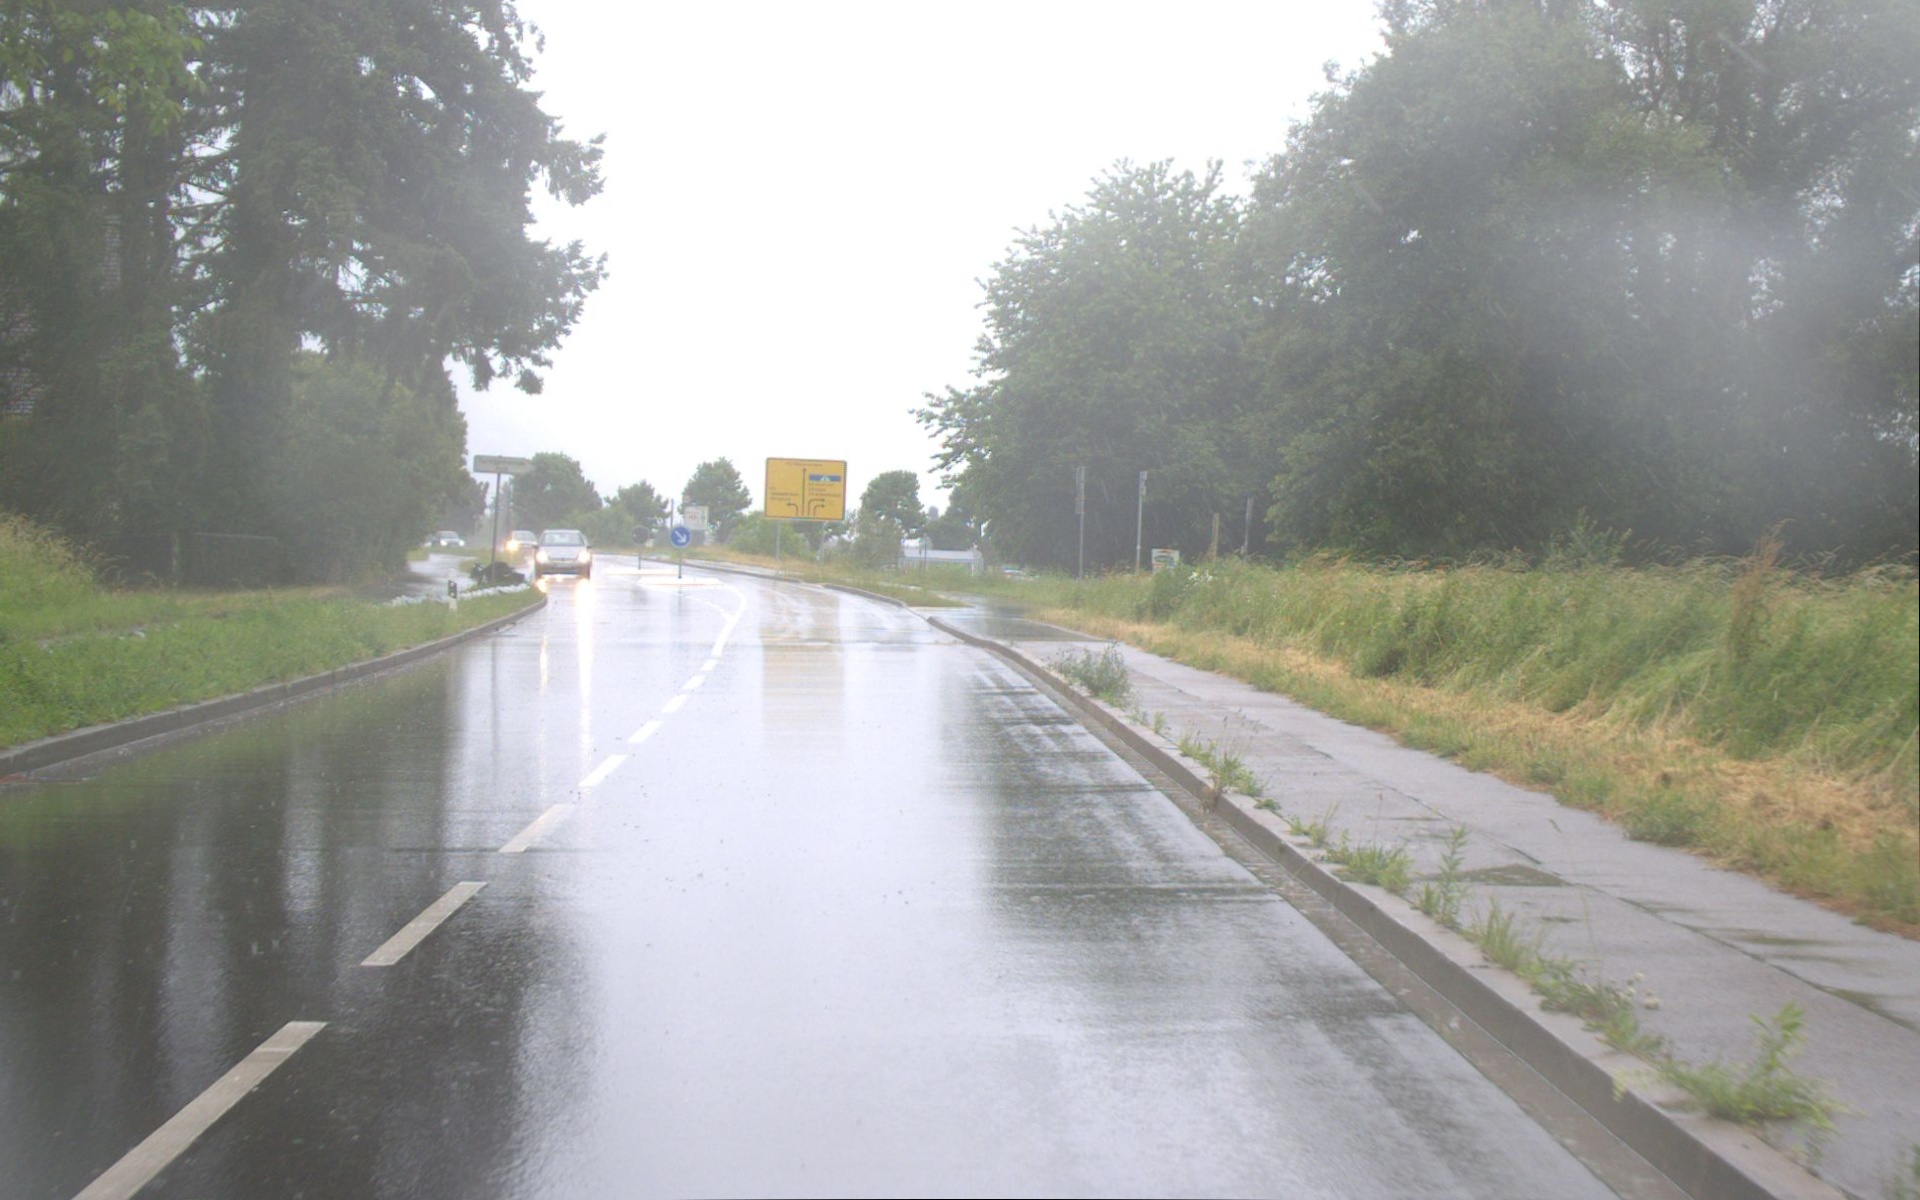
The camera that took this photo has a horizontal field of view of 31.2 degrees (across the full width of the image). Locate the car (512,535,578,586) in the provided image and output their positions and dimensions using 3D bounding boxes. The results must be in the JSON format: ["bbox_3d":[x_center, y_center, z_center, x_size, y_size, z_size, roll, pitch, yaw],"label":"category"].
[{"bbox_3d":[-13.531,-1.308,112.045,1.760,1.547,4.001,2,1,-12],"label":"car"}]
